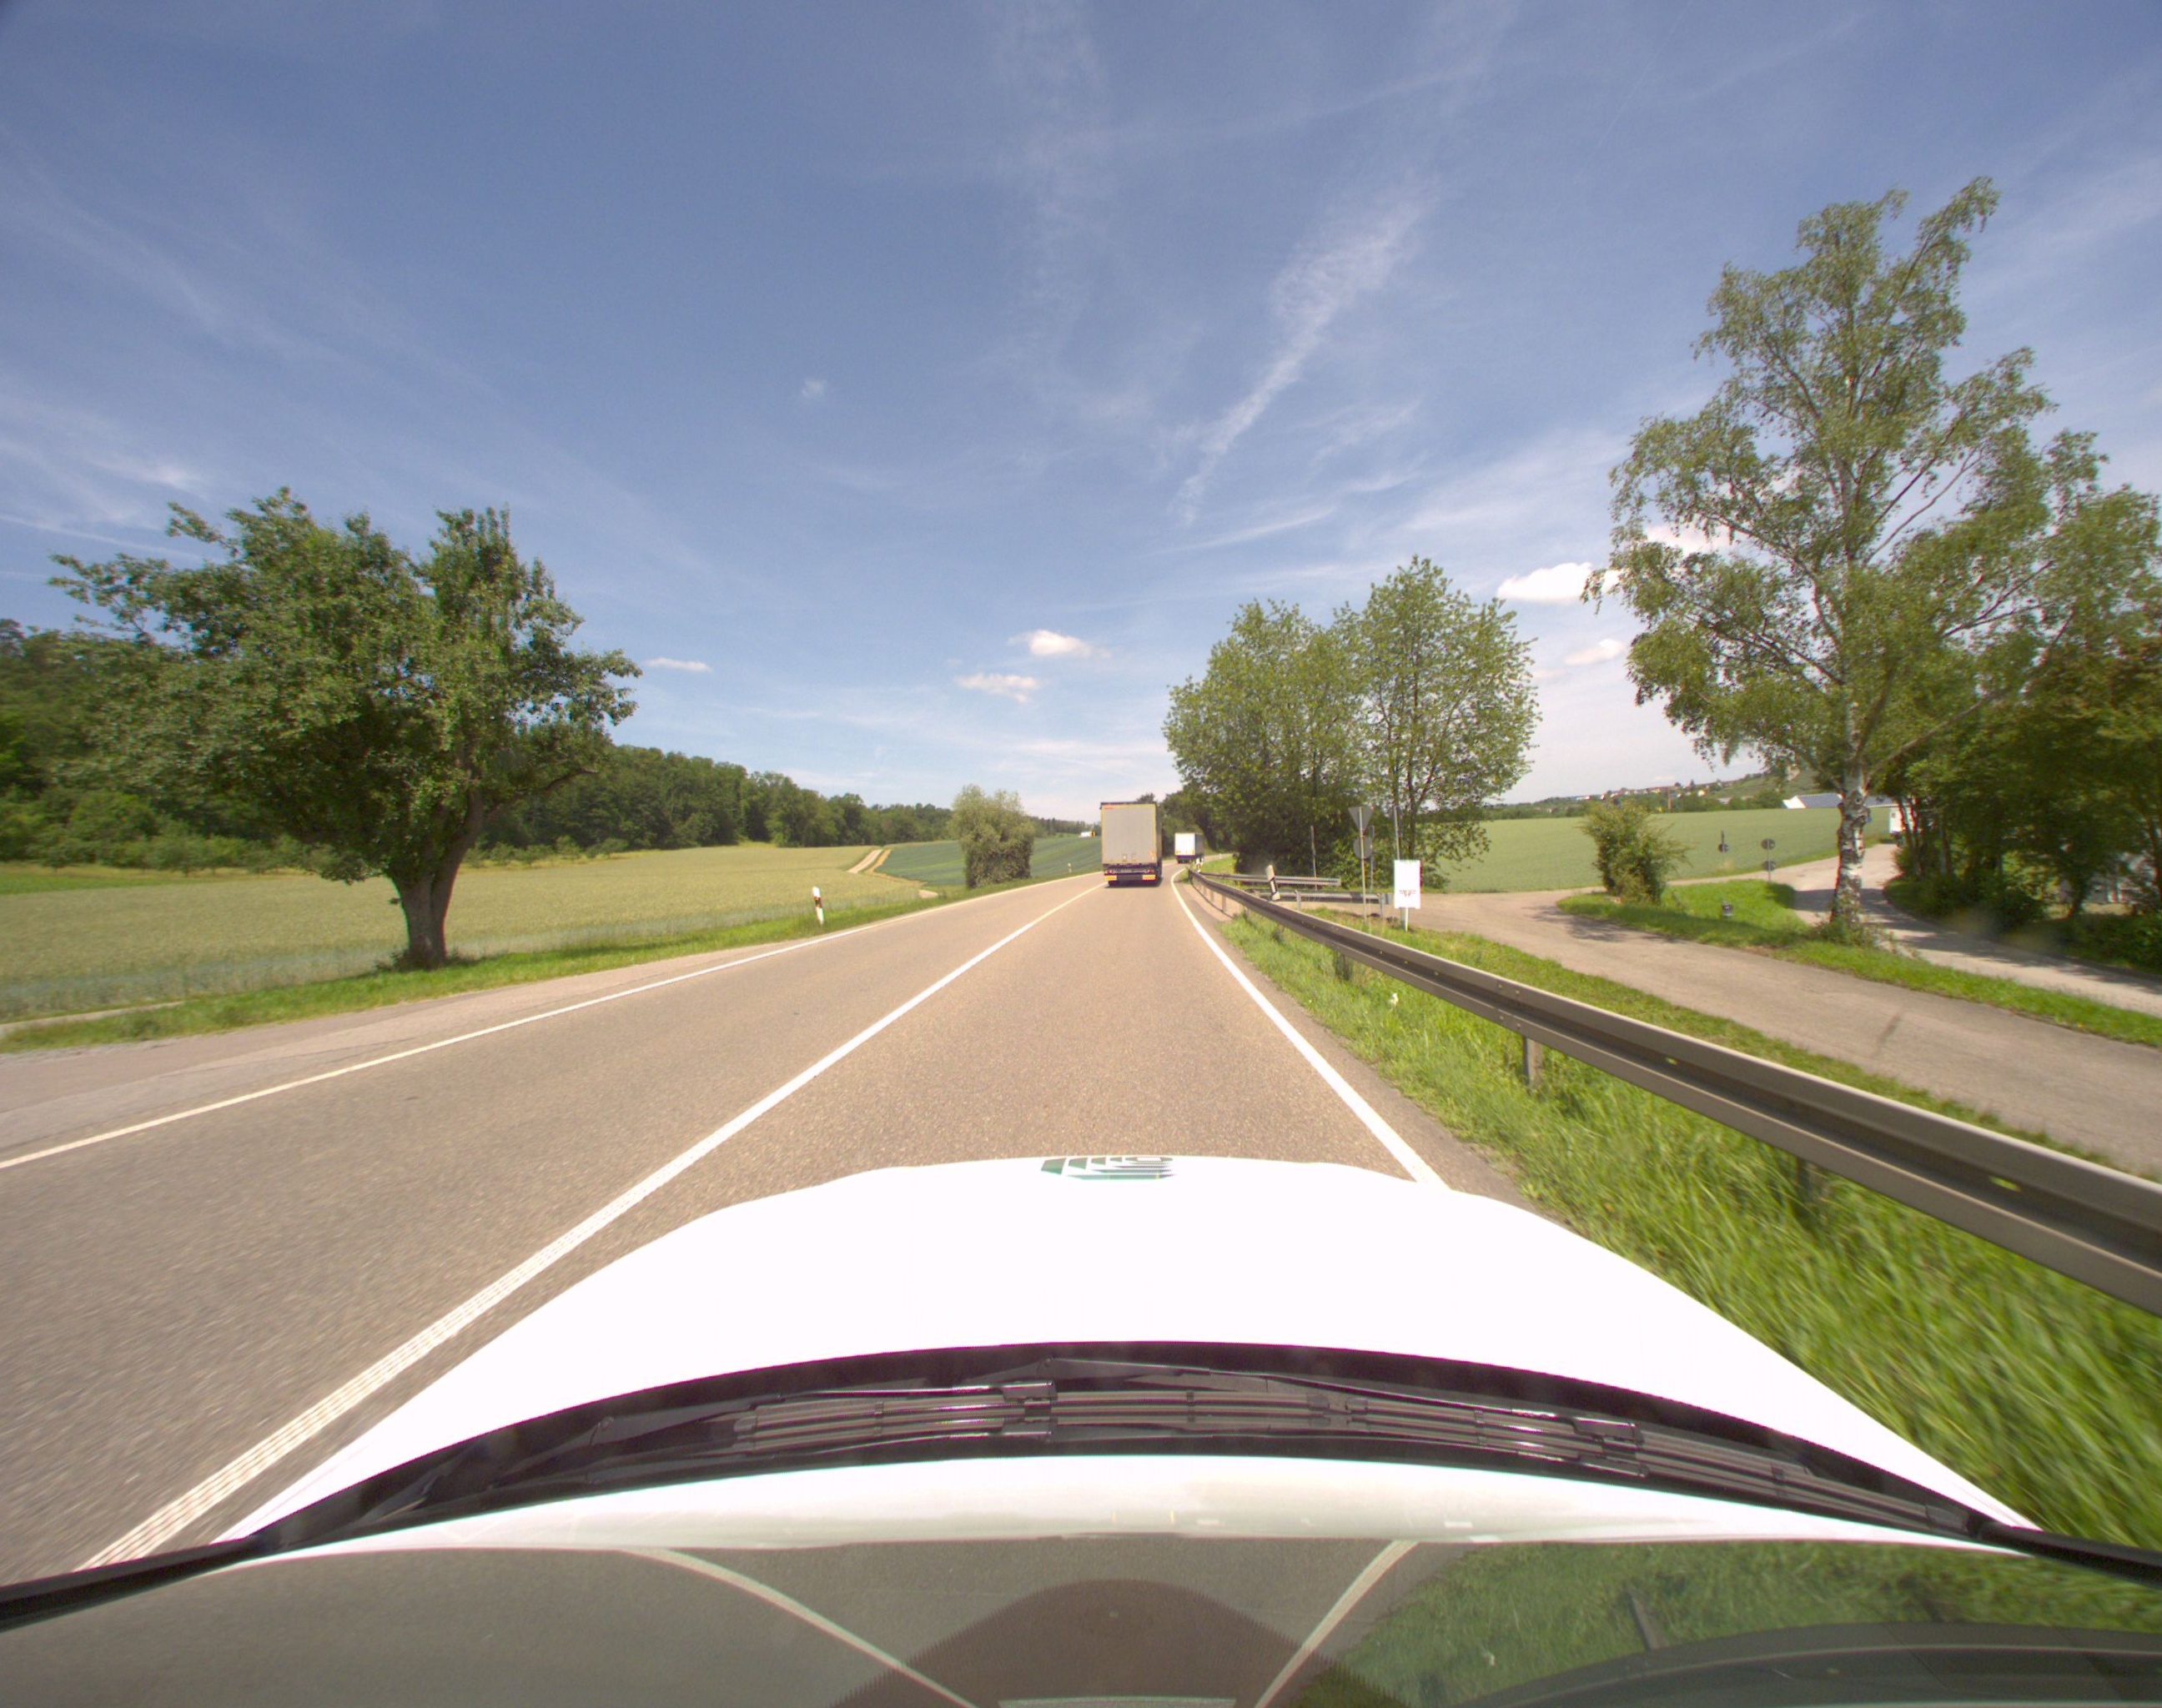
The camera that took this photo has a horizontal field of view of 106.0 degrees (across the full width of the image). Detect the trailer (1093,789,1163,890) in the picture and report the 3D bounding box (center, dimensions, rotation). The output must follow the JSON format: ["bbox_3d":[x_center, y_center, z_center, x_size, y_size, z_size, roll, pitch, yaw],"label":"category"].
[{"bbox_3d":[2.841,-0.672,44.081,3.103,4.500,13.908,-1,0,6],"label":"trailer"}]

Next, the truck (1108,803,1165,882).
[{"bbox_3d":[3.553,-0.662,50.524,3.102,4.494,6.824,-1,0,7],"label":"truck"}]

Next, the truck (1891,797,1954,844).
[{"bbox_3d":[76.281,-3.044,73.808,7.176,3.535,3.116,-6,1,-38],"label":"truck"}]

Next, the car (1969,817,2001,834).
[{"bbox_3d":[88.232,-2.811,79.480,4.467,1.408,1.818,-3,-1,-39],"label":"car"}]

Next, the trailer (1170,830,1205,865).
[{"bbox_3d":[14.590,-1.039,110.505,3.342,4.316,13.913,-2,1,12],"label":"trailer"}]
